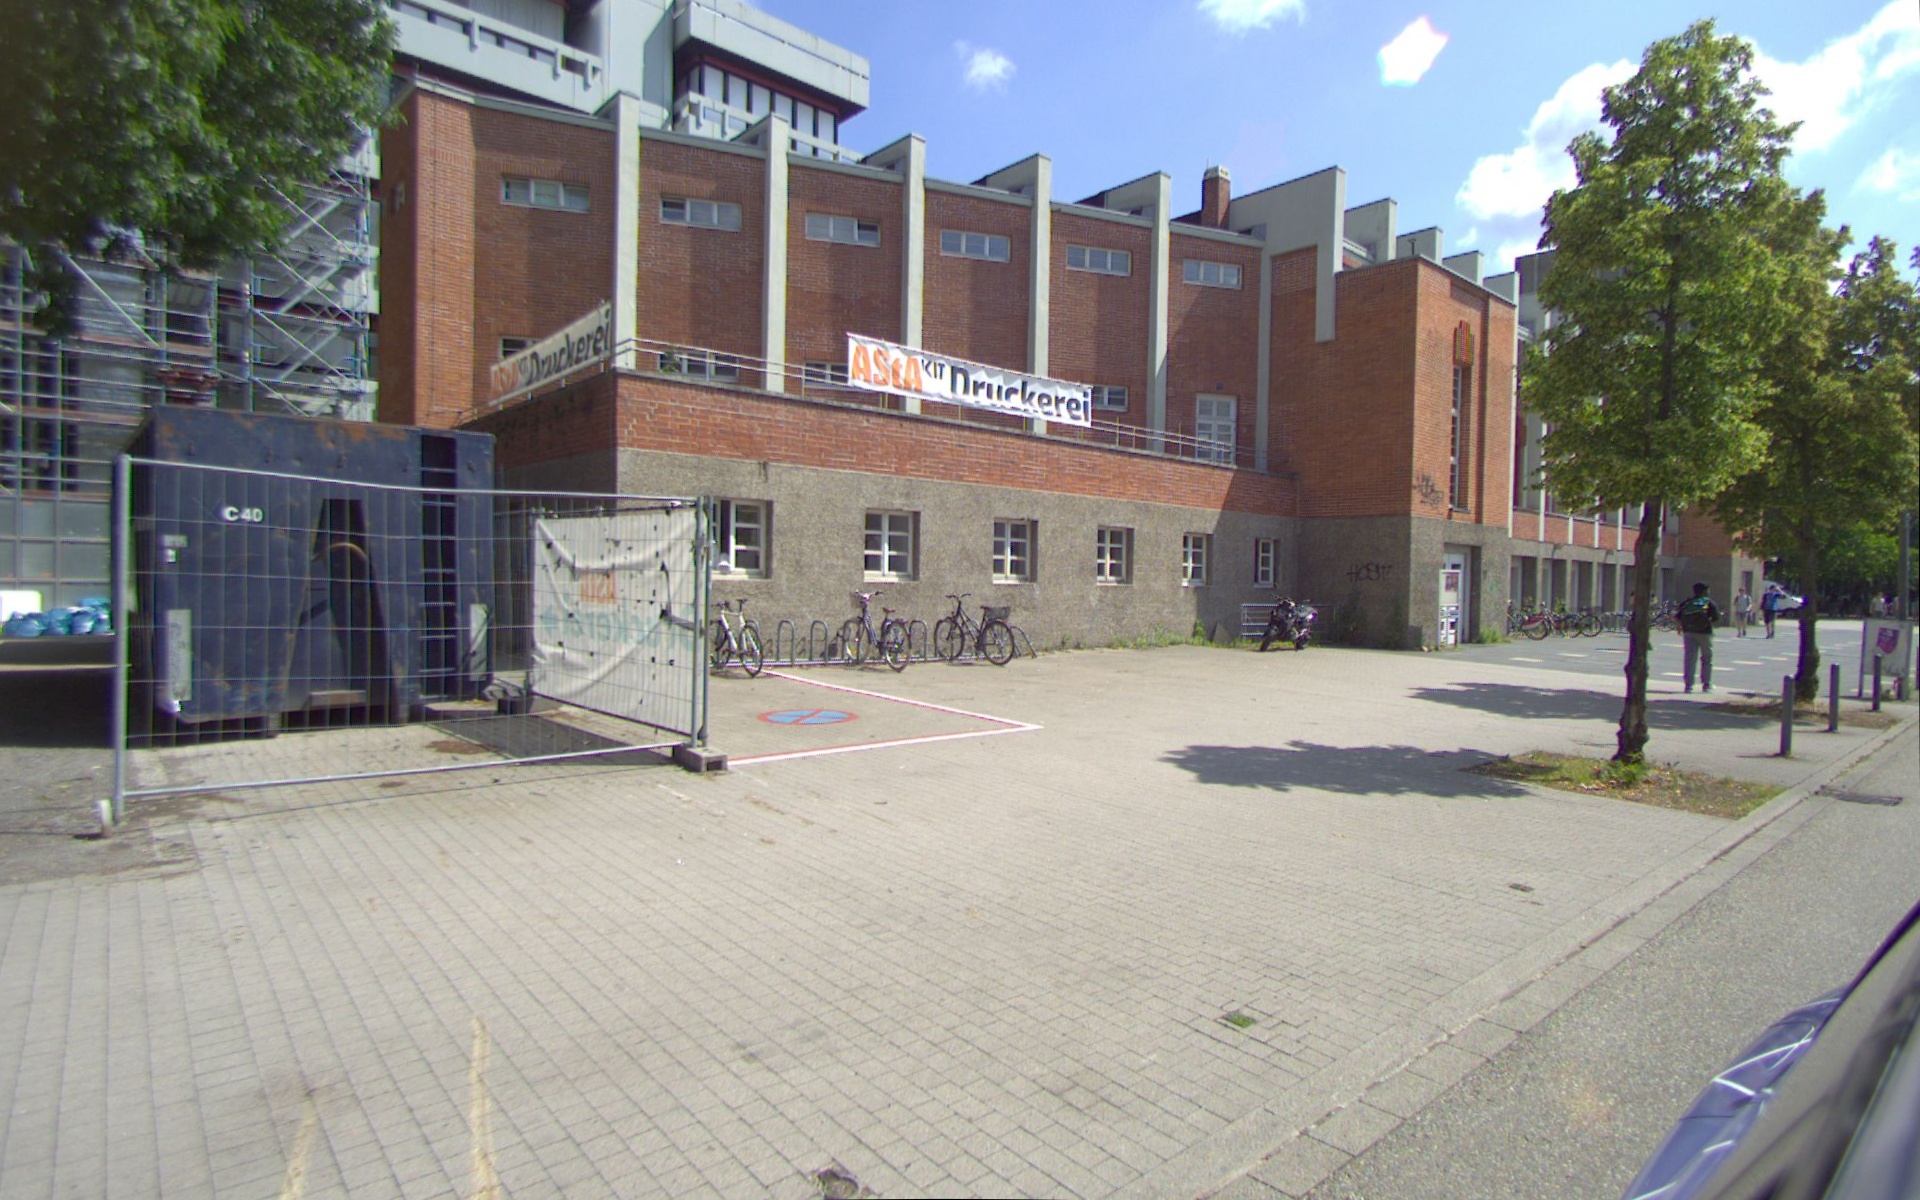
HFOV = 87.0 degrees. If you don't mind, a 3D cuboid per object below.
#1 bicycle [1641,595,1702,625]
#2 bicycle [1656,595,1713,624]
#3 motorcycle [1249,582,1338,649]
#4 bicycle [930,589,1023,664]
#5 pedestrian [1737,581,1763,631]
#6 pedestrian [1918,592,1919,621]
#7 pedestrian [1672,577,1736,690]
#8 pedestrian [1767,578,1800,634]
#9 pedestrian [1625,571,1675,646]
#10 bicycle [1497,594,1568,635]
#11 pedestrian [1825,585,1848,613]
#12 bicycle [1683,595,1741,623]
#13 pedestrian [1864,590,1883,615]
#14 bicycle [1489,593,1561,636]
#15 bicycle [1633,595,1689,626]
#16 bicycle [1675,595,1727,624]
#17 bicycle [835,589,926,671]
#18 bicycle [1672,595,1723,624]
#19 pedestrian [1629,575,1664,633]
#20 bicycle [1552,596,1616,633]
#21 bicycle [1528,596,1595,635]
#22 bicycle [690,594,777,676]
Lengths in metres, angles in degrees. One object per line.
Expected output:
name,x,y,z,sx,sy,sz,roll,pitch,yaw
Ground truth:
bicycle,27.989,0.386,39.845,0.428,1.124,1.914,0,2,-42
bicycle,29.336,0.373,41.010,0.428,1.124,1.799,0,2,-42
motorcycle,7.075,0.312,21.428,2.180,1.340,0.697,0,1,-39
bicycle,0.249,0.409,16.625,0.440,1.123,1.810,0,1,-40
pedestrian,28.361,0.197,36.326,0.585,1.727,0.986,3,3,44
pedestrian,56.771,0.389,59.271,0.780,1.696,1.065,2,2,36
pedestrian,11.729,0.504,15.950,0.779,1.718,0.642,0,1,-42
pedestrian,29.034,0.207,35.687,1.090,1.913,0.665,-1,2,-40
pedestrian,17.702,0.202,25.965,0.844,1.857,1.178,2,1,44
bicycle,17.074,0.417,30.197,0.509,1.164,1.755,0,2,-42
pedestrian,62.396,-0.064,72.075,0.973,1.970,0.969,1,1,27
bicycle,32.414,0.379,43.656,0.449,1.124,1.932,0,2,-42
pedestrian,64.195,0.182,71.130,0.744,1.694,0.838,2,1,26
bicycle,16.462,0.406,29.513,0.428,1.164,1.755,0,2,-42
bicycle,26.795,0.399,38.708,0.428,1.124,1.685,0,2,-42
bicycle,31.092,0.393,42.470,0.428,1.124,1.697,0,2,-42
bicycle,-1.214,0.422,15.223,0.440,1.123,1.705,0,1,-40
bicycle,30.589,0.379,42.004,0.428,1.124,1.653,0,2,-42
pedestrian,22.559,0.118,33.264,0.890,1.857,0.665,0,1,-38
bicycle,20.056,0.457,32.565,0.428,1.124,1.685,0,2,-42
bicycle,18.868,0.471,31.790,0.428,1.124,1.750,0,2,-42
bicycle,-3.136,0.447,13.914,0.440,1.016,1.675,0,1,-40
